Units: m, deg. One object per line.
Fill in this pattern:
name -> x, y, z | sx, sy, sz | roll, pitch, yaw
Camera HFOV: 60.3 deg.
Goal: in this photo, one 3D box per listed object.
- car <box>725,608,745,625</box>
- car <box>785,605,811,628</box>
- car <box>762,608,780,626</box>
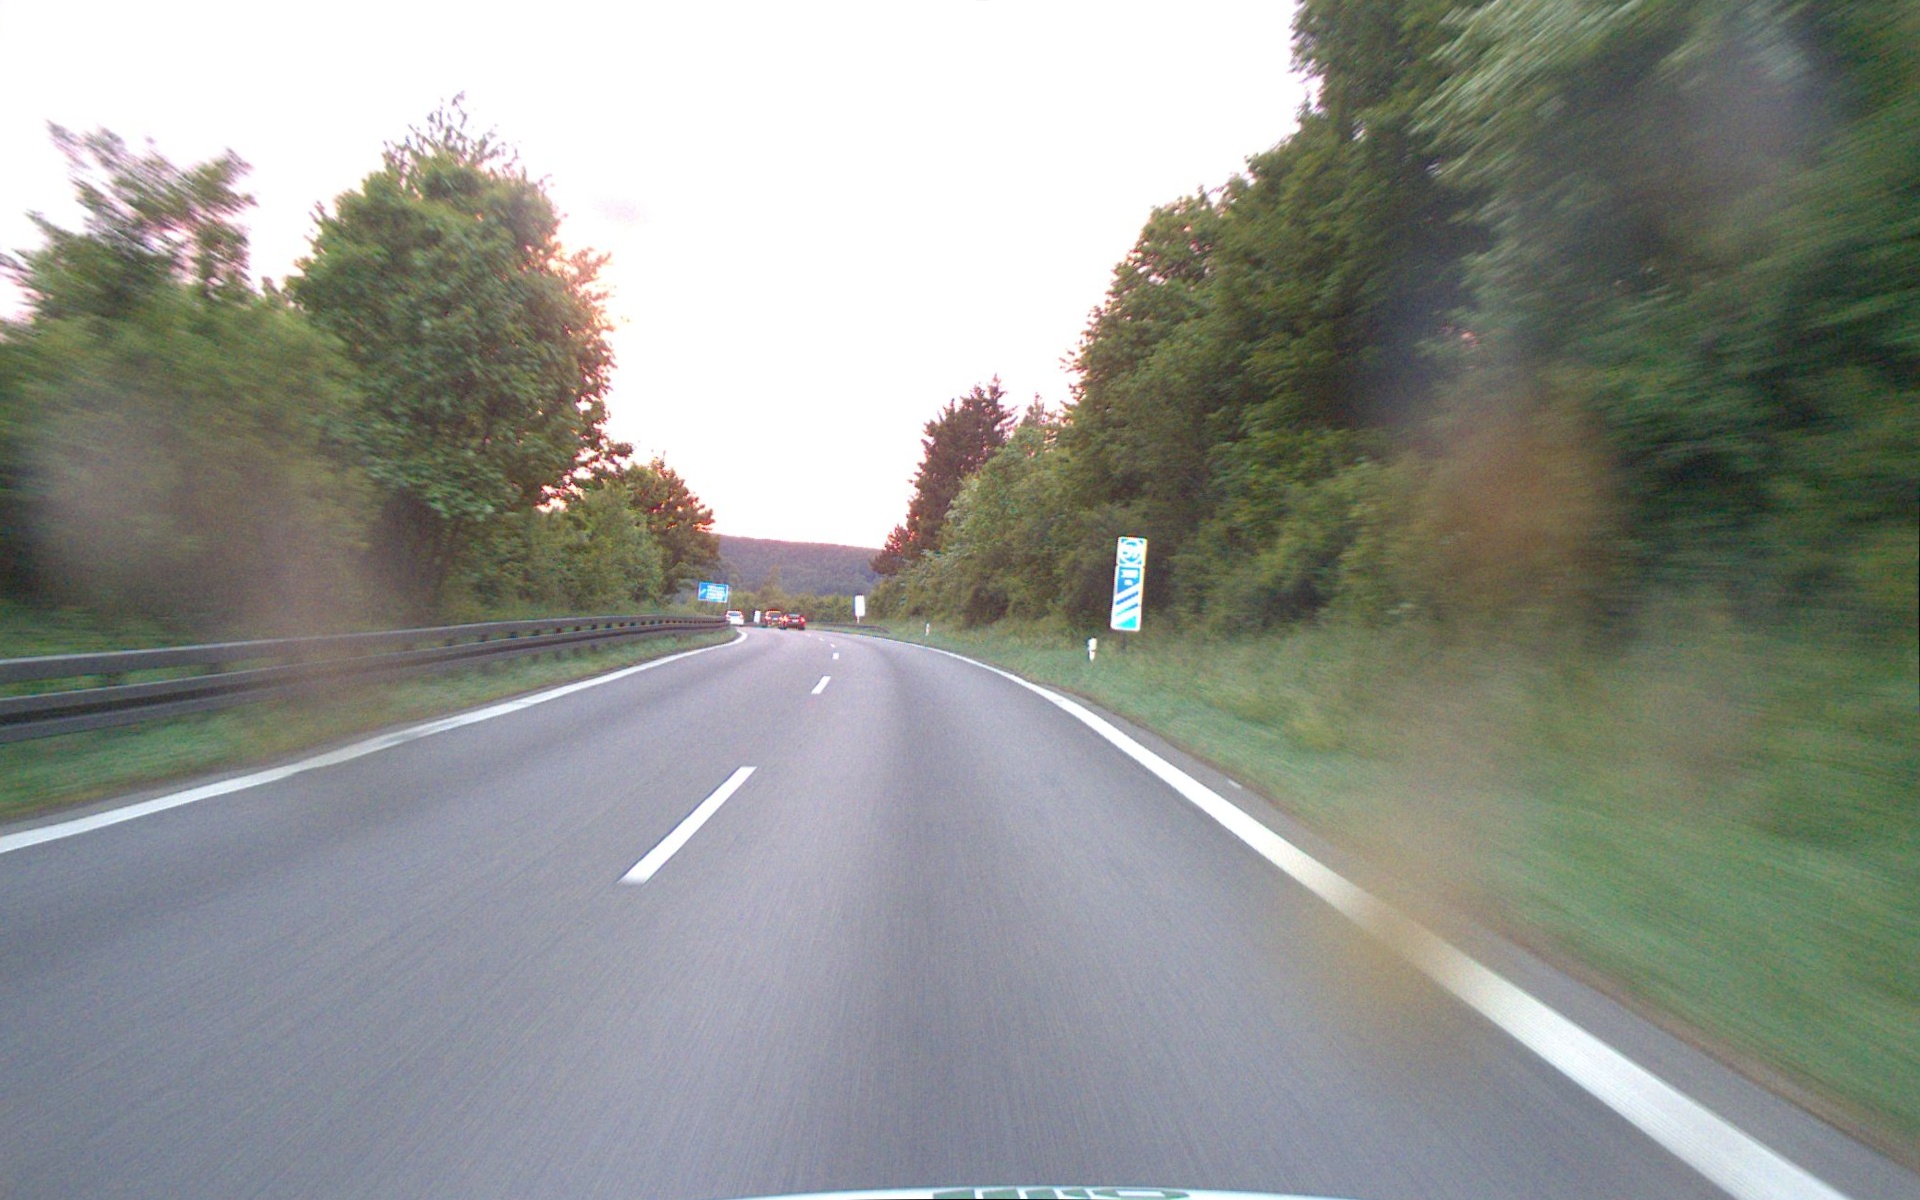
car -> -21.734, 1.598, 159.677 | 1.685, 1.528, 3.994 | 3, -2, -6
car -> -14.030, 1.423, 142.775 | 1.957, 1.674, 3.992 | 5, -4, -8
car -> -18.719, 1.702, 163.914 | 1.686, 1.664, 3.992 | 1, -1, -8
